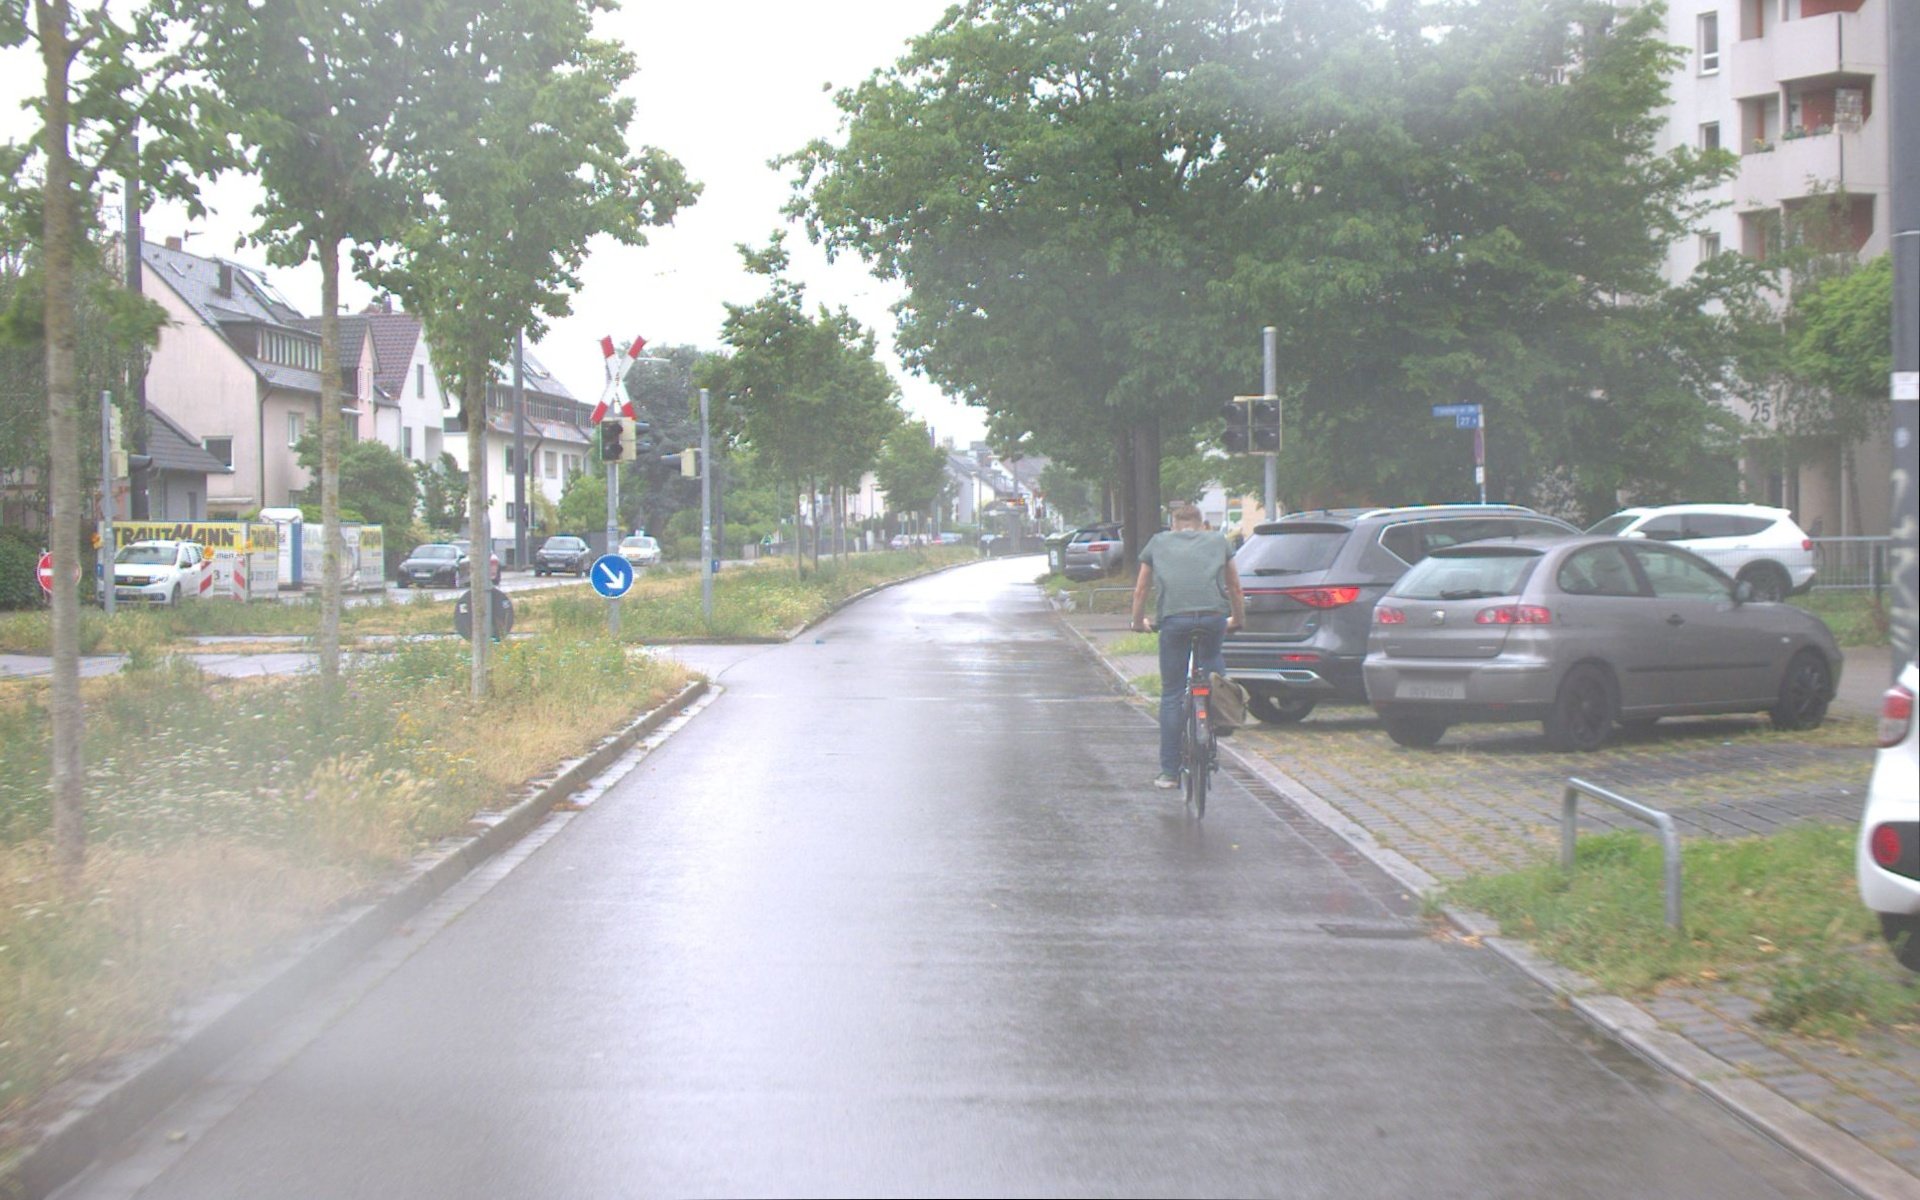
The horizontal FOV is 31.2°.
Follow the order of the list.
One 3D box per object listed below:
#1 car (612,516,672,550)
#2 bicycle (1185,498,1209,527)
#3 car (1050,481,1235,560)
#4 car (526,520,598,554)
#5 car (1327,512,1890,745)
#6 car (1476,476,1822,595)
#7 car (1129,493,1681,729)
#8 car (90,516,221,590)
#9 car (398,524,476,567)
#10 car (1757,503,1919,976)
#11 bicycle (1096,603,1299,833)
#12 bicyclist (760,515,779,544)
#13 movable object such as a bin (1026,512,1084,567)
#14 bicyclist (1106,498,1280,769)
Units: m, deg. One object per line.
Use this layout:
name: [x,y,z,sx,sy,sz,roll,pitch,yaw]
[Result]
car: [-14.244,-3.020,154.107,1.897,1.464,4.687,2,2,4]
bicycle: [8.700,-3.218,126.163,0.734,1.052,2.051,-1,2,1]
car: [4.564,-1.984,85.845,4.135,1.713,2.000,-5,3,-30]
car: [-15.262,-2.423,132.001,1.897,1.240,4.687,2,2,4]
car: [4.569,0.141,23.943,3.989,1.424,1.734,-3,2,-41]
car: [10.558,-1.006,52.797,4.801,1.739,2.001,-1,1,-14]
car: [3.546,0.025,26.957,4.338,1.645,1.857,-3,2,-41]
car: [-17.903,-1.071,76.715,1.710,1.537,4.422,2,2,2]
car: [-16.102,-1.705,106.066,1.663,1.240,4.071,1,2,2]
car: [4.755,0.370,11.989,3.988,1.503,1.705,-2,0,-39]
bicycle: [1.268,0.603,18.862,0.809,1.093,2.517,-1,1,-2]
bicyclist: [-11.053,-4.116,199.680,1.018,1.679,1.092,-1,1,1]
movable object such as a bin: [2.737,-1.759,99.337,1.125,1.452,1.401,-7,3,-19]
bicyclist: [1.264,0.165,18.840,0.809,1.428,1.060,-1,1,-2]
